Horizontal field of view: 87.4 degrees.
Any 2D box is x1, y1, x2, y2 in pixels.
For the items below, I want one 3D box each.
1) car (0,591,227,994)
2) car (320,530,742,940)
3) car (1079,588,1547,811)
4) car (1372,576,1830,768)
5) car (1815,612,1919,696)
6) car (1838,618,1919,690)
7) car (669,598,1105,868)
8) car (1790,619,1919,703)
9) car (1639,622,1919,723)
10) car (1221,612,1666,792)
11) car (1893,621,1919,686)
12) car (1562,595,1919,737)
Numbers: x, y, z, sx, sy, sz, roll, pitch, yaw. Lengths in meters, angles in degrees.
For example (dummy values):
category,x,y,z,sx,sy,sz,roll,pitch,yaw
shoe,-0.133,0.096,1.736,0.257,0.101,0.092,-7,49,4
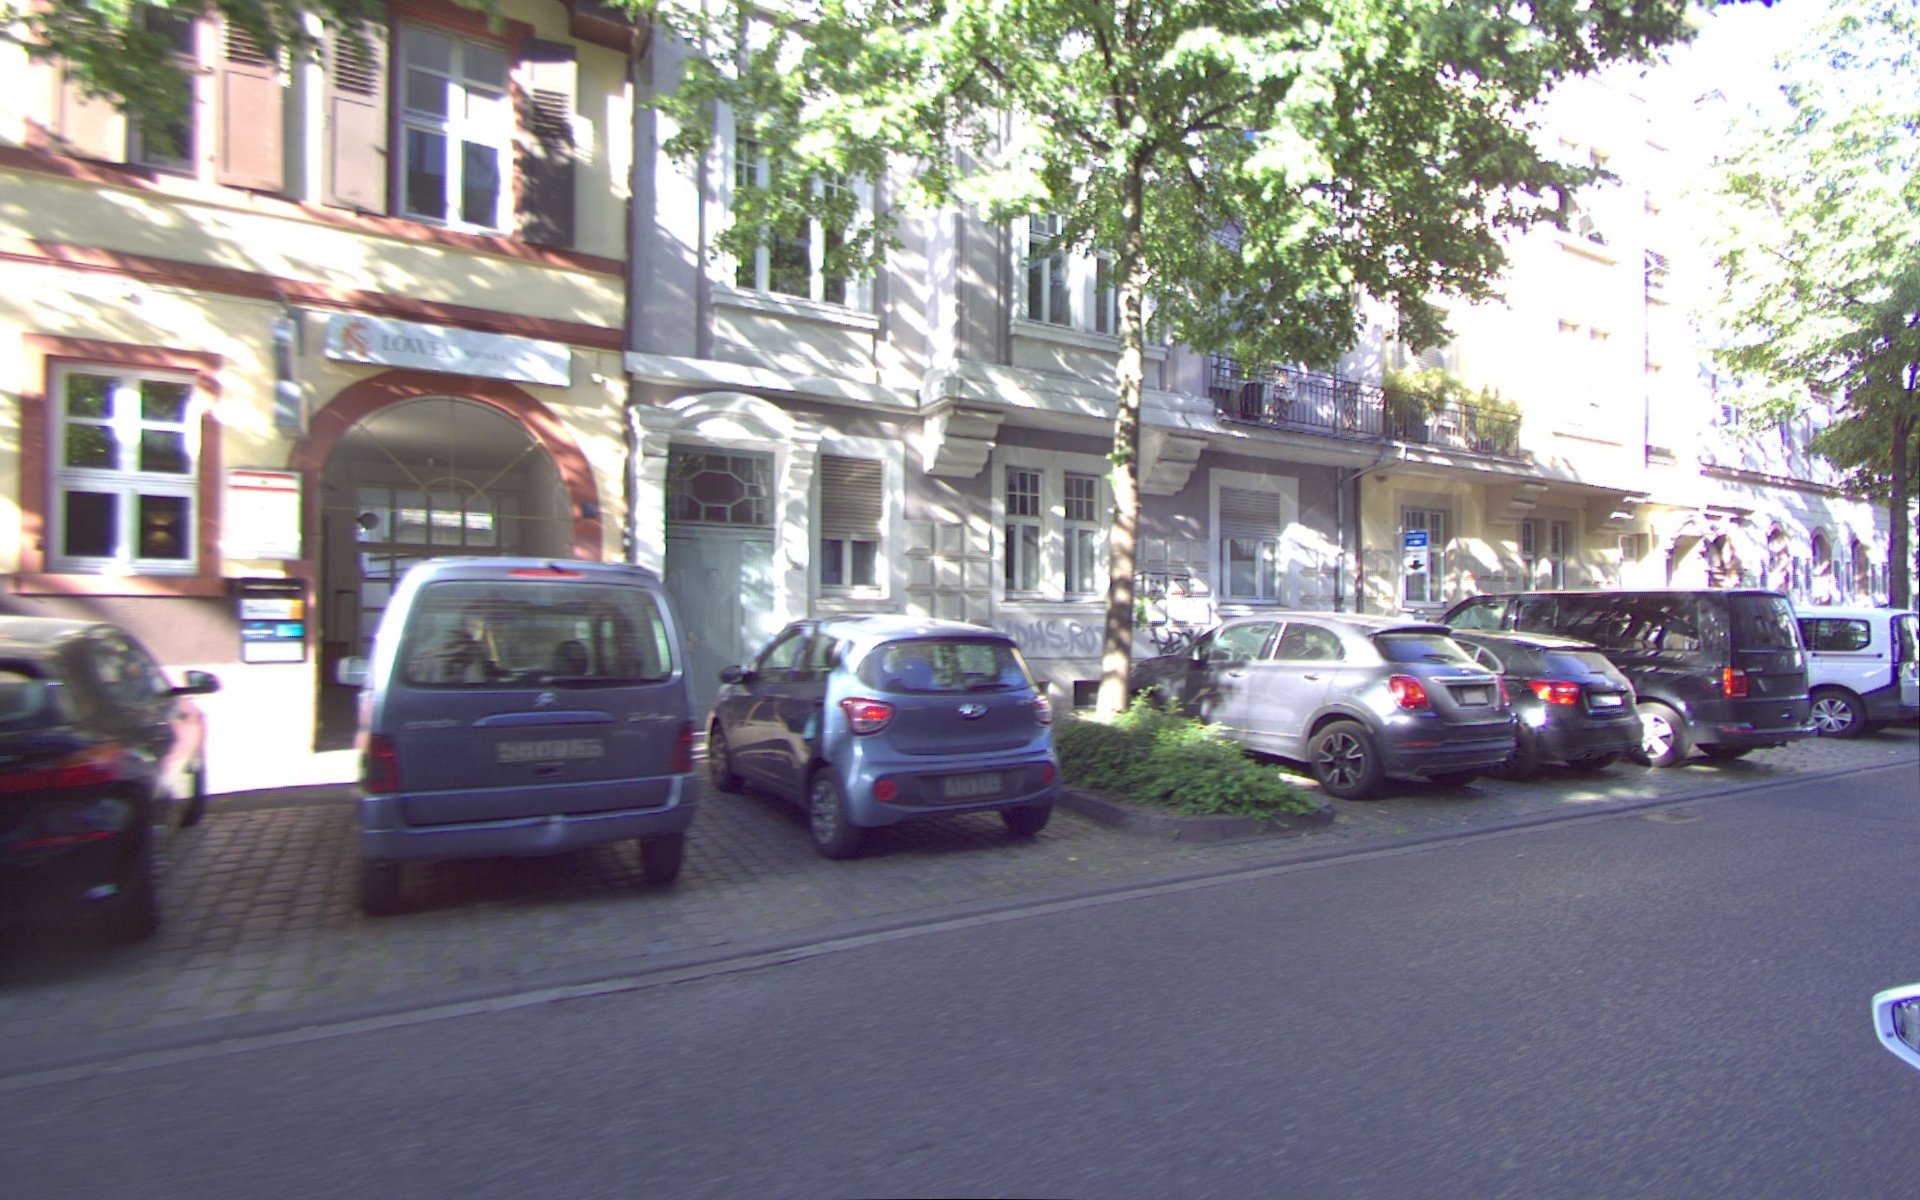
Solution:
category,x,y,z,sx,sy,sz,roll,pitch,yaw
car,-5.263,0.741,5.437,1.945,1.565,4.311,1,-1,-35
car,-3.023,0.636,6.910,1.905,1.848,4.323,1,-1,-27
car,3.298,0.811,10.278,1.895,1.756,4.317,1,-1,-31
car,7.722,0.760,12.671,1.905,1.952,4.558,1,-1,-26
car,20.974,1.142,21.027,1.894,1.732,4.320,1,-1,-29
car,22.743,1.238,22.483,1.787,1.603,4.320,1,-1,-29
car,-0.898,0.794,8.181,1.893,1.565,4.320,1,-1,-29
car,19.097,1.179,19.340,1.892,1.561,4.449,1,-1,-27
car,14.338,1.135,17.028,1.895,1.458,4.317,1,-1,-31
car,5.284,0.978,11.597,1.895,1.616,4.317,1,-1,-31
car,24.819,1.297,23.212,1.894,1.561,4.445,1,-1,-30
car,11.998,0.882,15.468,1.900,1.858,4.304,1,-1,-39
